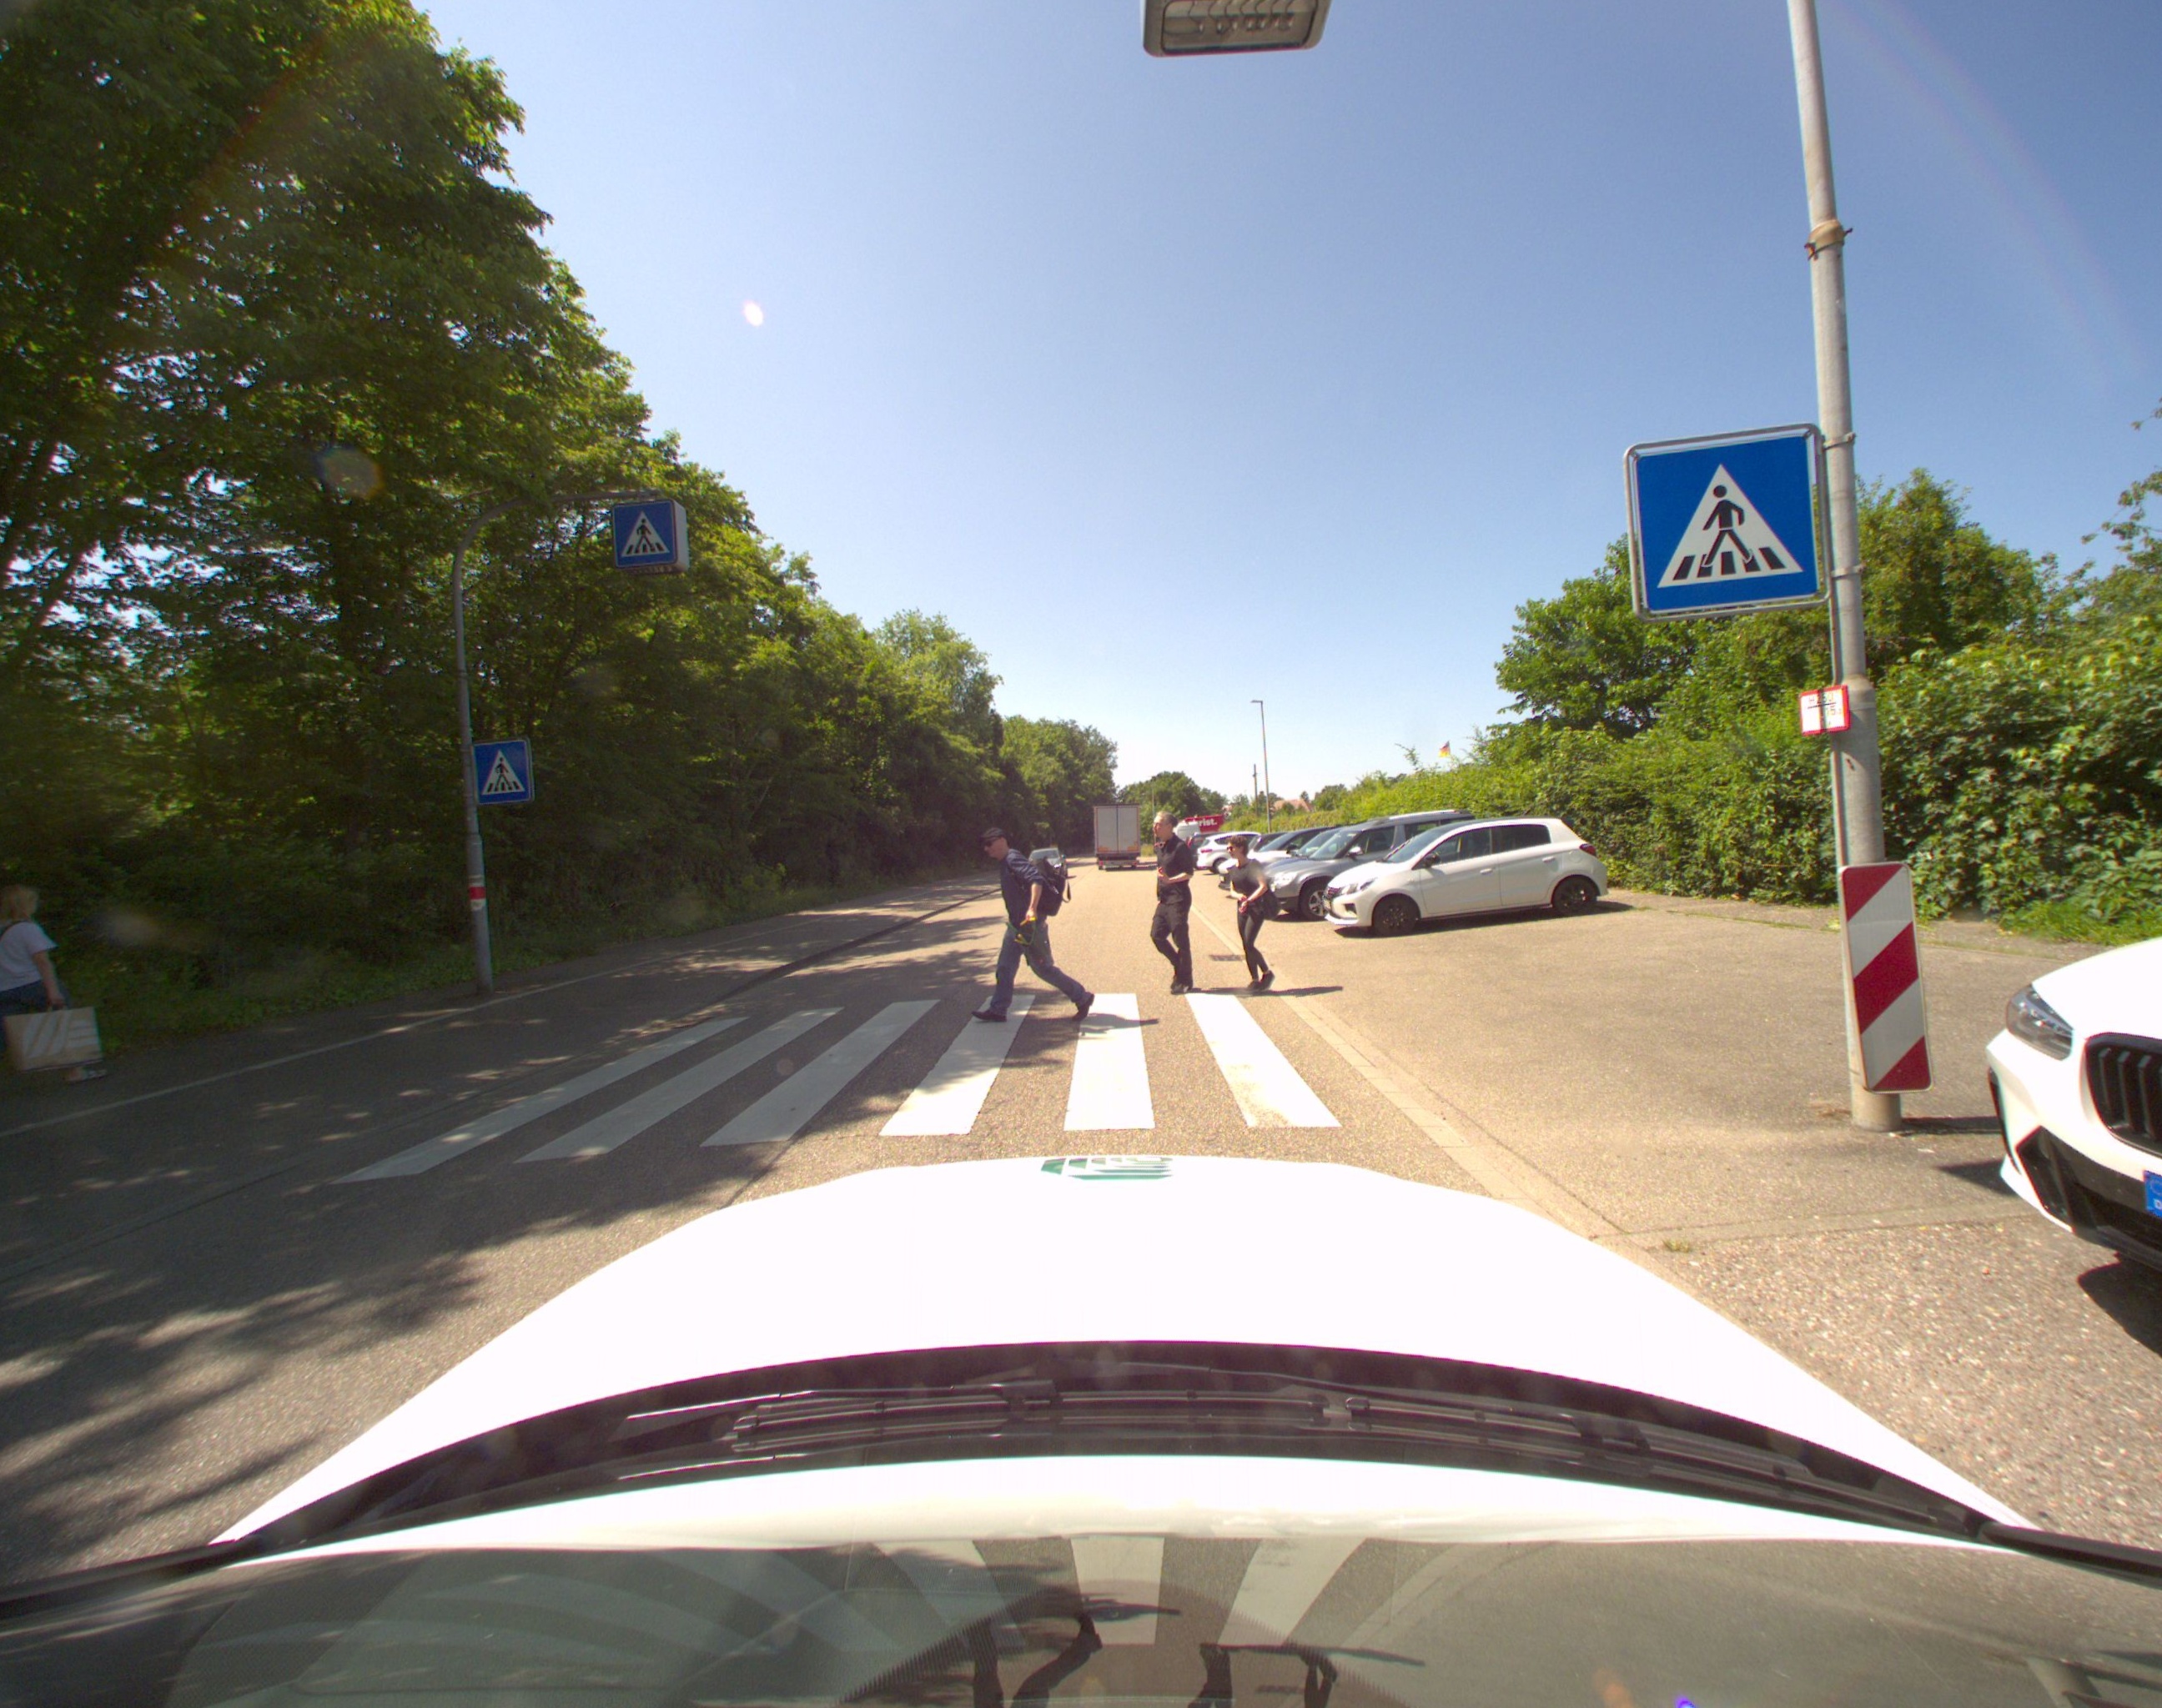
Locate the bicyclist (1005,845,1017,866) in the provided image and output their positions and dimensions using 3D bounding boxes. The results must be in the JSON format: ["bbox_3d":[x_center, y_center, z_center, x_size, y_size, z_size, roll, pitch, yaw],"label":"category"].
[{"bbox_3d":[-5.283,0.096,61.160,0.645,1.565,0.838,-3,0,6],"label":"bicyclist"}]

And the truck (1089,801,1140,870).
[{"bbox_3d":[2.259,-1.093,52.099,2.722,3.745,13.258,-2,1,3],"label":"truck"}]

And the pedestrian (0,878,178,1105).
[{"bbox_3d":[-8.126,1.034,6.417,0.929,1.612,0.886,-2,1,1],"label":"pedestrian"}]

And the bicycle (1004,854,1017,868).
[{"bbox_3d":[-5.281,0.524,61.124,0.558,1.027,1.842,-3,1,7],"label":"bicycle"}]

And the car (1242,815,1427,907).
[{"bbox_3d":[5.490,0.131,17.898,3.445,1.527,1.538,-7,1,-3],"label":"car"}]

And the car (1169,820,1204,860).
[{"bbox_3d":[8.055,-1.124,62.772,1.946,2.733,7.175,-5,1,4],"label":"car"}]

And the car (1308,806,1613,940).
[{"bbox_3d":[5.454,0.253,12.081,3.671,1.450,1.613,-7,1,6],"label":"car"}]

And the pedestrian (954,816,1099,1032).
[{"bbox_3d":[-0.459,0.573,7.234,1.151,1.751,1.023,-2,0,-1],"label":"pedestrian"}]

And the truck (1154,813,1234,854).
[{"bbox_3d":[10.686,-1.893,76.822,7.087,3.439,2.339,-3,1,13],"label":"truck"}]

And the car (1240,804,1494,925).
[{"bbox_3d":[5.149,0.161,14.974,3.952,1.640,1.662,-7,1,-3],"label":"car"}]

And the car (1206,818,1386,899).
[{"bbox_3d":[5.401,0.104,20.771,3.954,1.522,1.862,-7,1,-4],"label":"car"}]

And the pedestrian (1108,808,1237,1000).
[{"bbox_3d":[0.965,0.477,8.530,1.092,1.864,0.774,-1,0,-41],"label":"pedestrian"}]

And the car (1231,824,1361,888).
[{"bbox_3d":[6.201,0.034,23.746,3.371,1.503,1.590,-5,1,5],"label":"car"}]

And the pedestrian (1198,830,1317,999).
[{"bbox_3d":[1.811,0.571,8.352,0.901,1.611,0.771,-1,0,-40],"label":"pedestrian"}]

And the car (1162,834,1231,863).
[{"bbox_3d":[7.382,-0.340,52.266,4.042,1.434,1.835,-6,1,-1],"label":"car"}]

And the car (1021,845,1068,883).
[{"bbox_3d":[-1.729,0.442,40.199,1.884,1.532,4.198,-7,1,1],"label":"car"}]

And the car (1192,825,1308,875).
[{"bbox_3d":[6.820,-0.177,33.189,4.262,1.578,1.765,-6,1,0],"label":"car"}]

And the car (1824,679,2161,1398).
[{"bbox_3d":[4.754,0.268,1.755,4.436,1.729,1.852,-5,0,2],"label":"car"}]

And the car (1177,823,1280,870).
[{"bbox_3d":[7.076,-0.342,39.399,4.441,1.804,1.951,-6,0,-2],"label":"car"}]
